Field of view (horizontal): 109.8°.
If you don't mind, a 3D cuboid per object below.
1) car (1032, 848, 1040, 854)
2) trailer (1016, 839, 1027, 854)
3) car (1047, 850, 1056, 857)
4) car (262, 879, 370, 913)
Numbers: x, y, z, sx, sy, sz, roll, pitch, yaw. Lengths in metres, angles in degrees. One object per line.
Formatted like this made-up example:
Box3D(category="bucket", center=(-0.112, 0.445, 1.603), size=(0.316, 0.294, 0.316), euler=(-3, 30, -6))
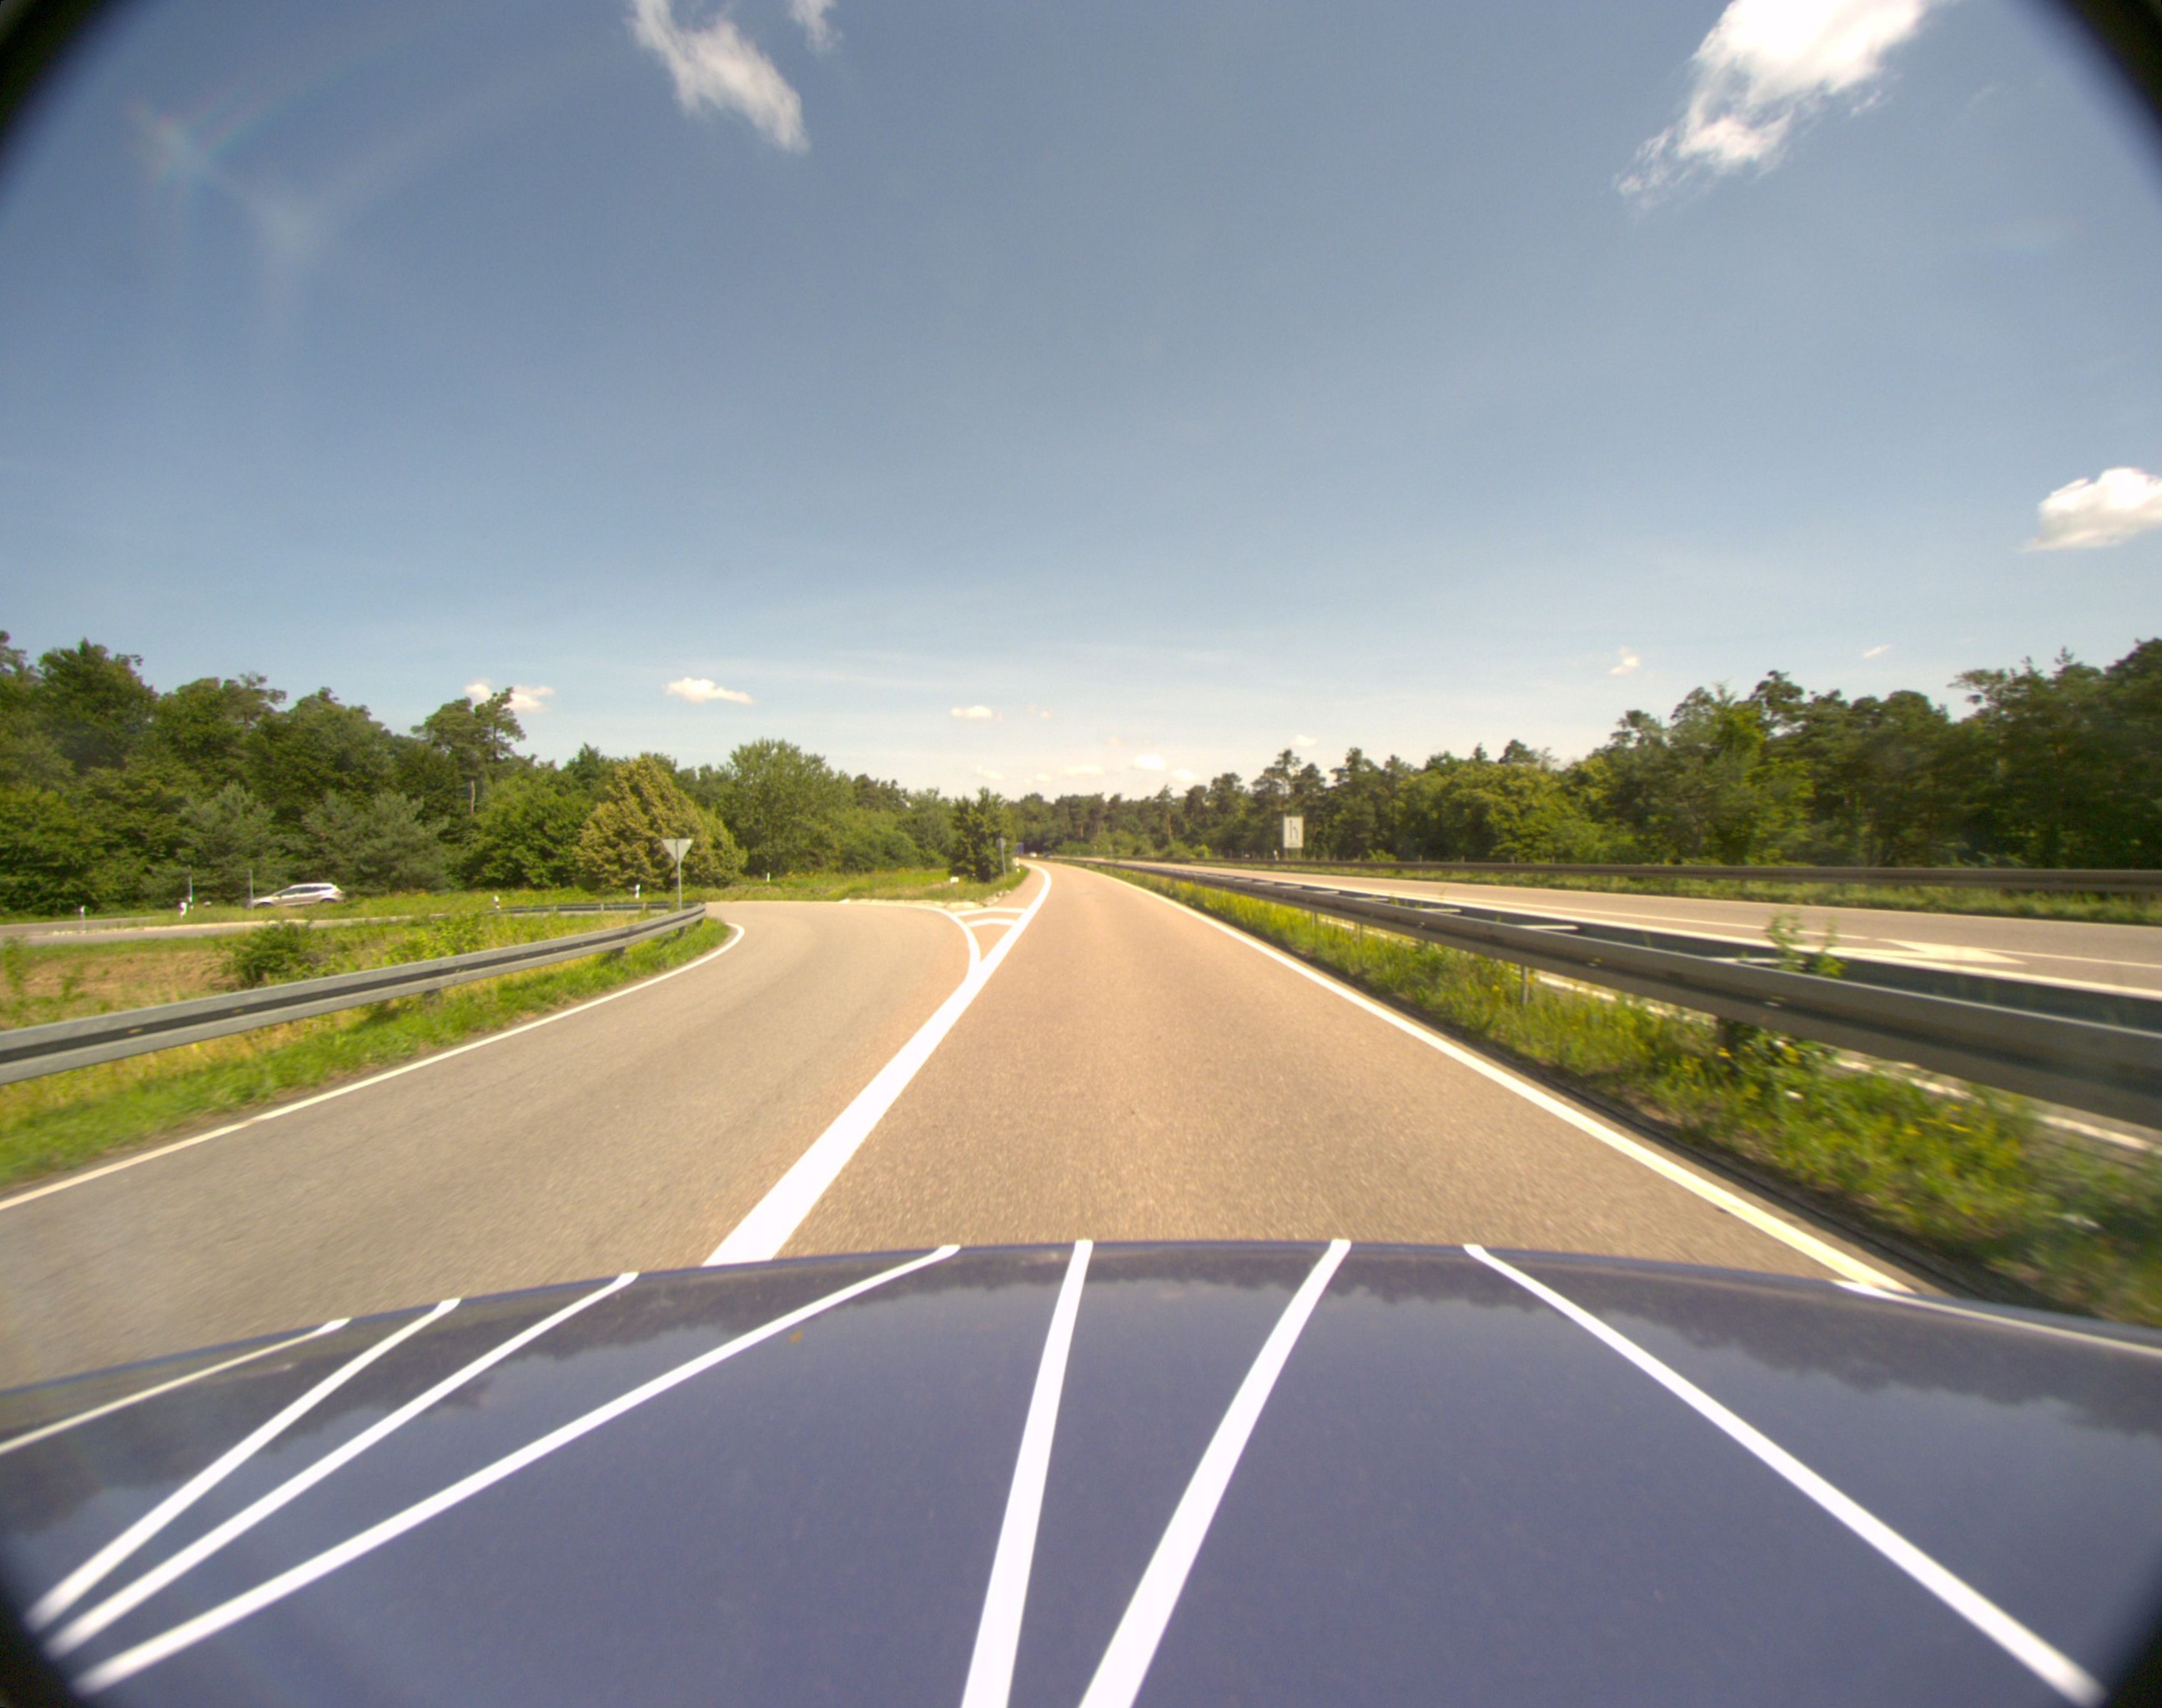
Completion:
Box3D(category="car", center=(-11.533, -0.692, 195.657), size=(1.799, 1.436, 4.603), euler=(-2, 1, -6))
Box3D(category="trailer", center=(-17.755, -2.250, 227.138), size=(2.754, 4.149, 14.572), euler=(-3, 1, -6))
Box3D(category="car", center=(-6.672, -0.224, 171.728), size=(1.761, 1.492, 4.571), euler=(-3, 1, -7))
Box3D(category="car", center=(-48.665, 2.652, 48.400), size=(1.895, 1.656, 4.674), euler=(-3, 1, 43))
